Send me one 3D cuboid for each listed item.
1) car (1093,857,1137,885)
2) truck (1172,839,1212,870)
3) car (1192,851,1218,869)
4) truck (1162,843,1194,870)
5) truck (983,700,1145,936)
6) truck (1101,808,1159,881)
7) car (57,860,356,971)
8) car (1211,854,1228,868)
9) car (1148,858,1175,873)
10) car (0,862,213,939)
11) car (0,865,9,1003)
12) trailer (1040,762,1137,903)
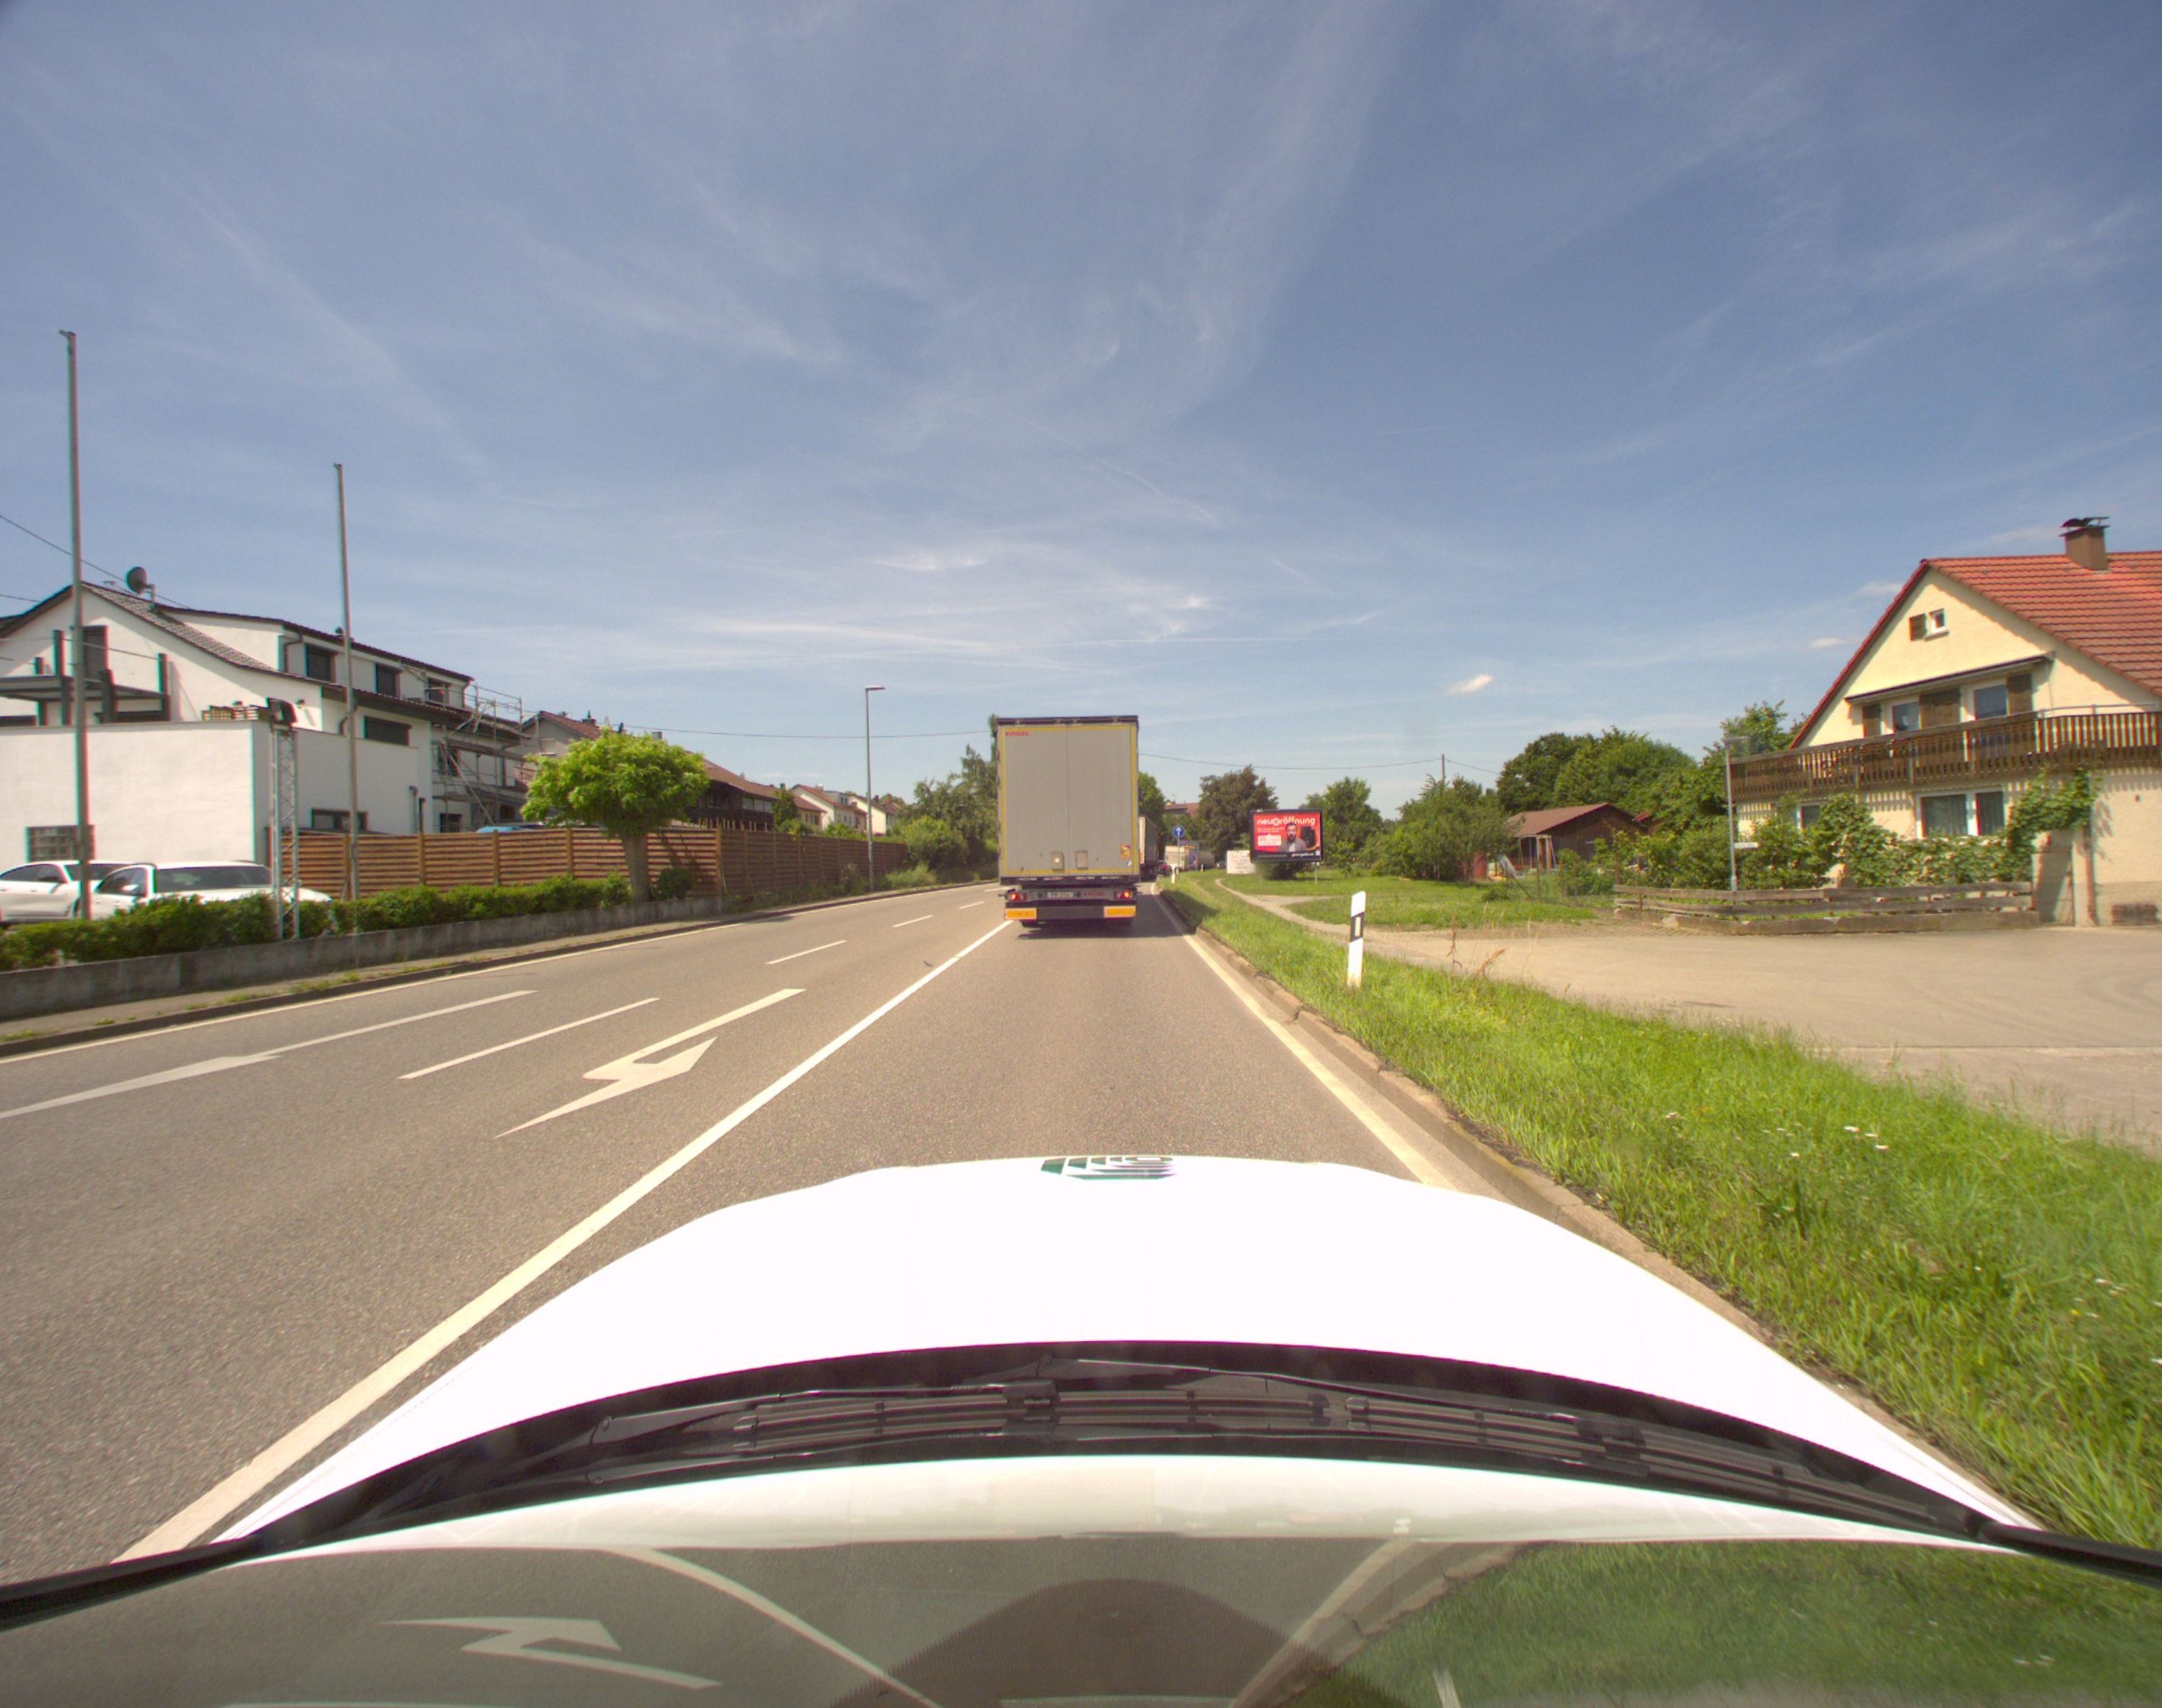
[{"bbox_3d":[1.810,0.855,41.872,1.808,1.346,3.857,0,-1,9],"label":"car"},{"bbox_3d":[13.624,0.069,99.506,3.406,3.604,9.395,0,0,17],"label":"truck"},{"bbox_3d":[16.578,0.802,108.632,2.512,2.277,6.409,0,0,17],"label":"car"},{"bbox_3d":[10.524,0.344,88.035,2.524,2.803,6.057,0,-1,16],"label":"truck"},{"bbox_3d":[0.001,-0.633,19.979,2.810,4.127,11.452,0,0,3],"label":"truck"},{"bbox_3d":[3.693,-0.434,56.713,2.745,4.289,16.450,0,-1,8],"label":"truck"},{"bbox_3d":[-13.336,0.828,12.406,4.288,1.447,1.868,-1,-1,25],"label":"car"},{"bbox_3d":[20.677,1.032,121.339,1.978,2.014,4.017,0,-1,17],"label":"car"},{"bbox_3d":[7.543,1.087,76.269,1.980,1.376,4.014,0,-1,13],"label":"car"},{"bbox_3d":[-21.207,0.938,17.443,3.958,1.510,1.842,0,0,14],"label":"car"},{"bbox_3d":[-13.694,0.840,8.659,4.288,1.447,1.909,-1,-1,25],"label":"car"},{"bbox_3d":[0.373,-0.636,27.145,2.814,4.111,6.548,-1,0,3],"label":"trailer"}]
